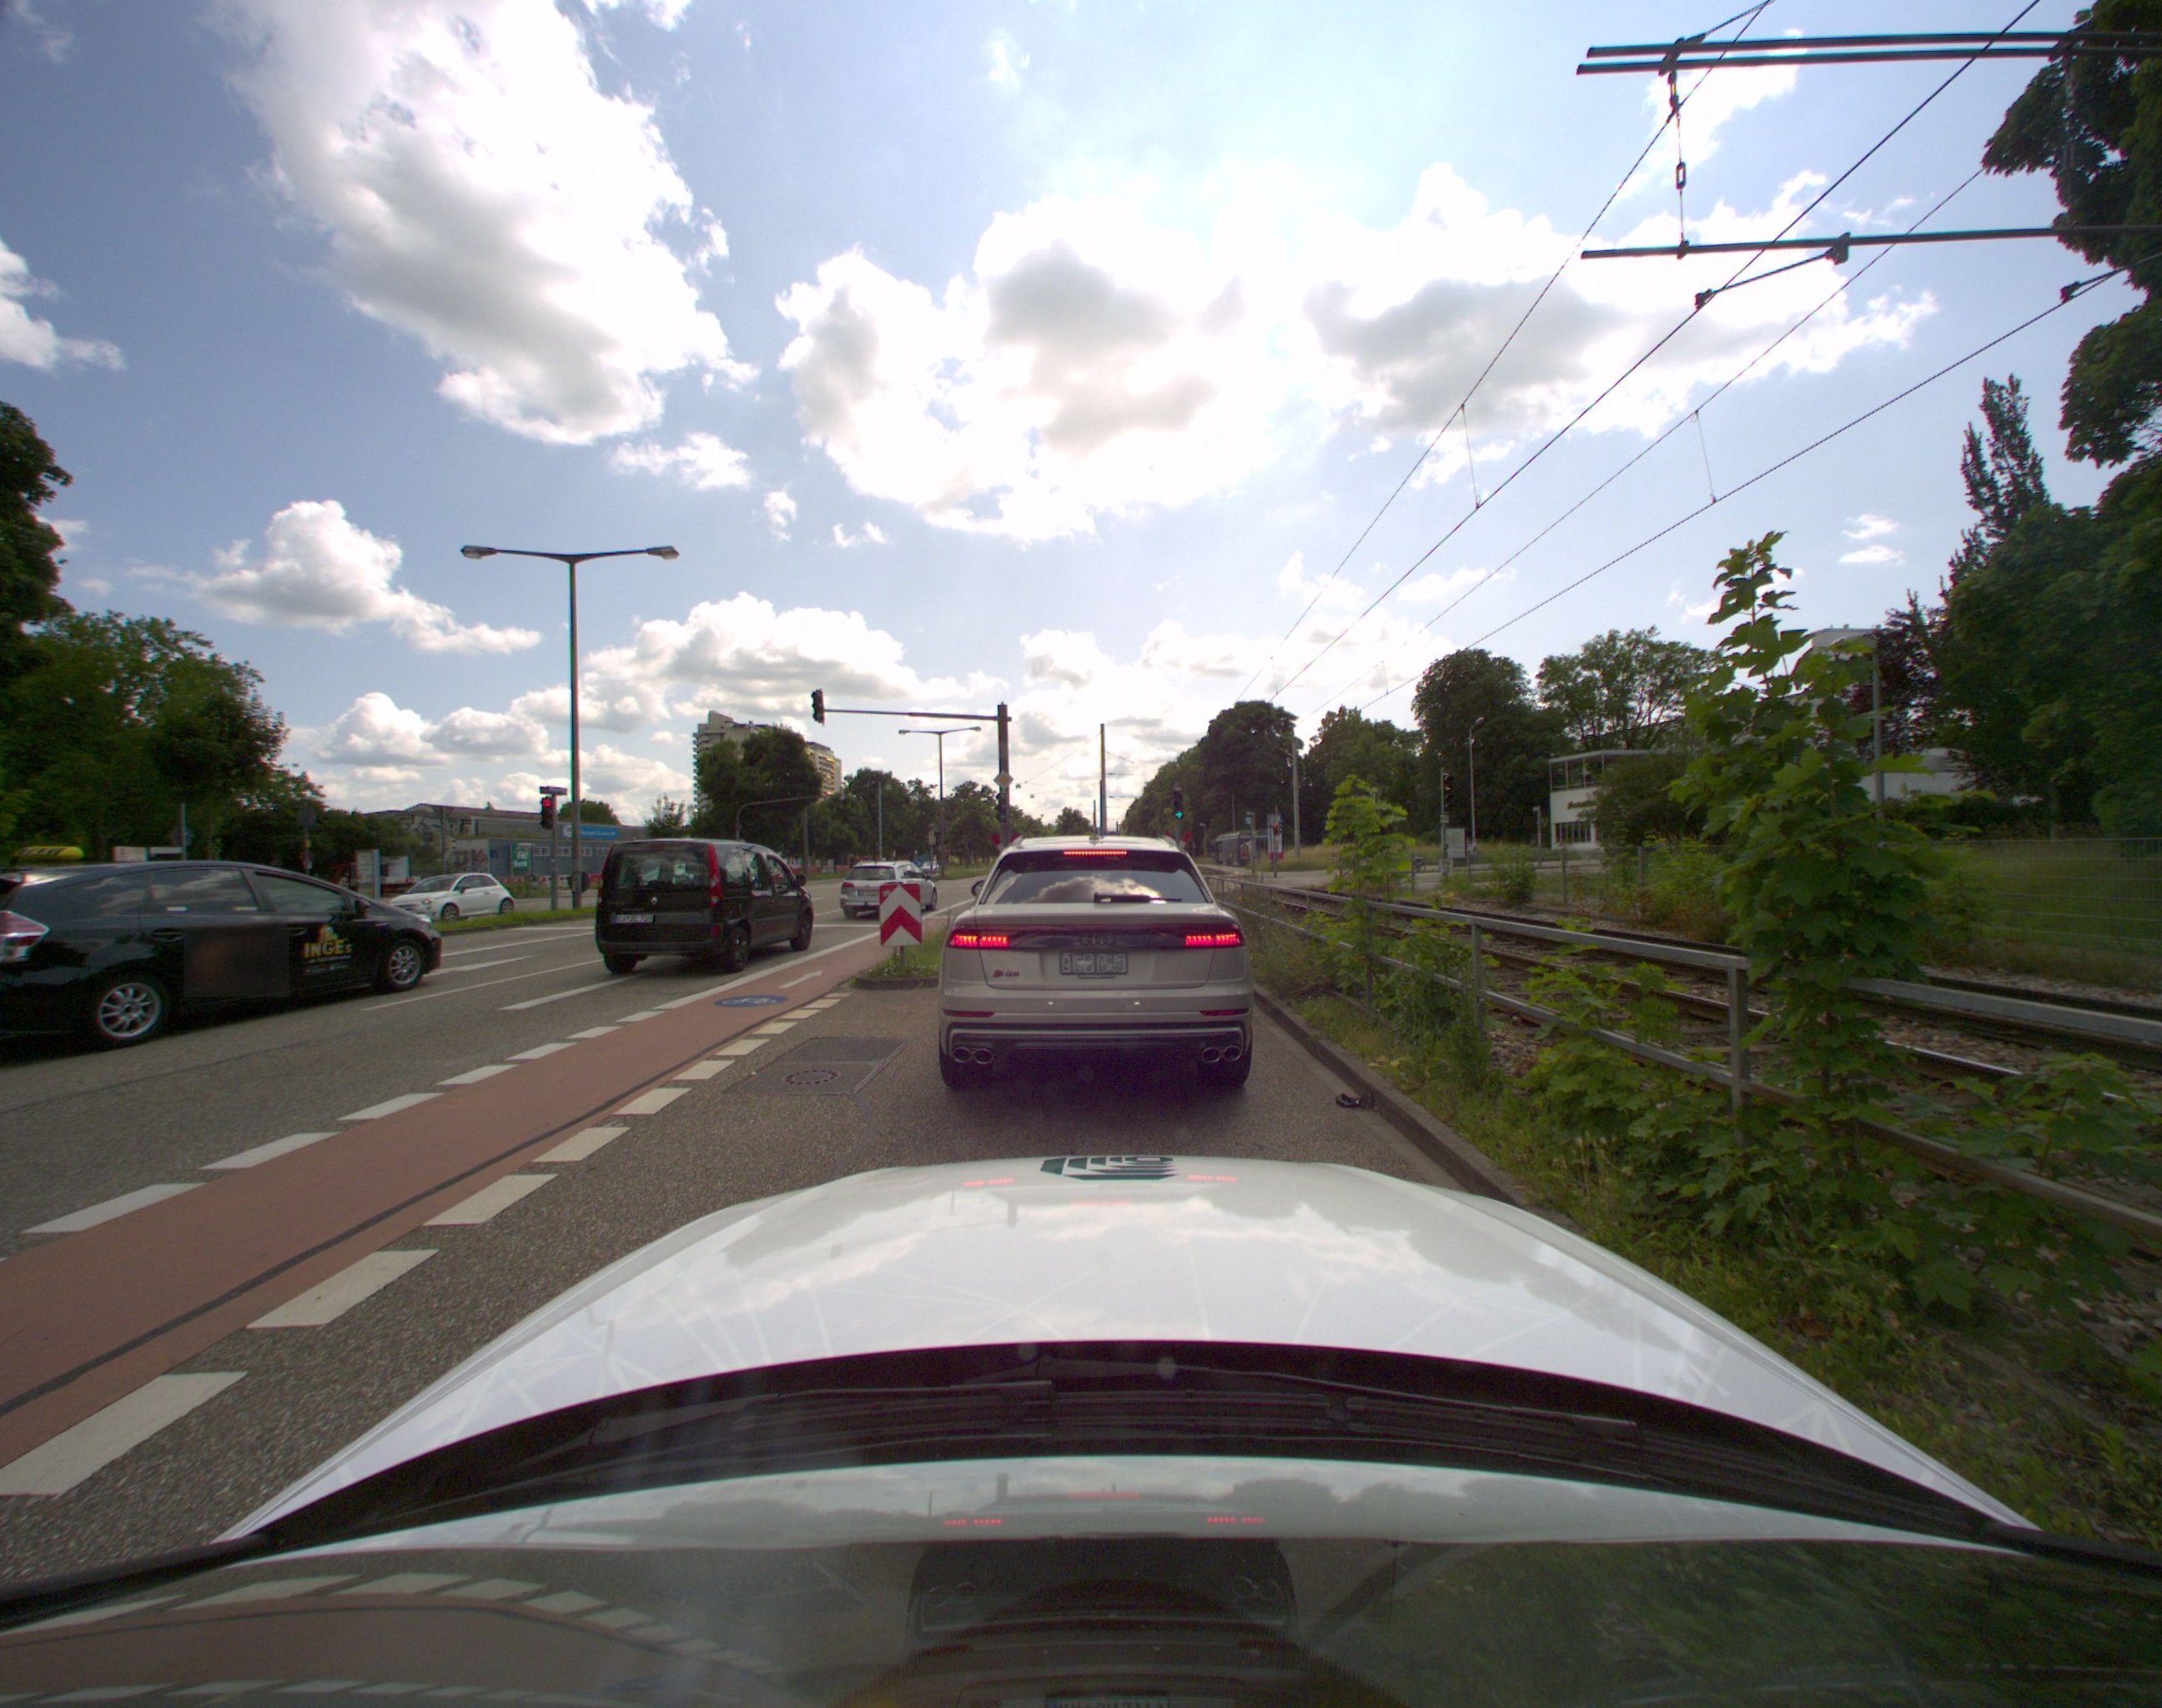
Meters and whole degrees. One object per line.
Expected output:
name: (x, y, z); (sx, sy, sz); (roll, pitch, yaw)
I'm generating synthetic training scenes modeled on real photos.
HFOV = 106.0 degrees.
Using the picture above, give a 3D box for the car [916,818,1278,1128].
car: (0.156, 0.670, 6.745); (1.974, 1.684, 4.576); (0, -1, 2)

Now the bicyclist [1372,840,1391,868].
bicyclist: (16.330, -0.006, 44.256); (0.835, 1.475, 0.456); (-2, -1, 3)

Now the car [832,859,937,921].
car: (-5.242, 0.900, 22.311); (1.779, 1.525, 4.301); (0, -1, 1)

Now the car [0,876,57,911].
car: (-58.424, 2.140, 44.509); (3.578, 1.793, 1.946); (-1, -1, 18)

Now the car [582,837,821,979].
car: (-5.415, 0.694, 12.237); (1.754, 1.777, 3.908); (0, -1, 0)

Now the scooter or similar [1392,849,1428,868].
scooter or similar: (17.824, 0.248, 44.158); (1.568, 0.979, 0.963); (-2, -1, 3)

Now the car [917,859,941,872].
car: (-17.239, 1.263, 92.677); (1.794, 1.432, 4.495); (-2, 0, 0)

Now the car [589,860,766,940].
car: (-8.494, 0.895, 17.573); (1.859, 1.504, 3.998); (0, -1, -1)

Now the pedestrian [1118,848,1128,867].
pedestrian: (3.381, 0.309, 65.213); (0.653, 1.513, 0.716); (-2, 0, -8)

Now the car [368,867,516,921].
car: (-18.827, 1.126, 24.218); (1.607, 1.445, 3.591); (0, -1, -1)

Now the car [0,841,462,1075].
car: (-8.601, 0.763, 7.960); (1.780, 1.668, 4.339); (0, -1, 0)

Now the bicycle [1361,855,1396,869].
bicycle: (16.156, 0.435, 44.222); (1.714, 0.765, 0.556); (-1, -1, 3)

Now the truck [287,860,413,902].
truck: (-47.487, 1.749, 52.951); (6.906, 2.439, 3.054); (-2, 0, 19)
